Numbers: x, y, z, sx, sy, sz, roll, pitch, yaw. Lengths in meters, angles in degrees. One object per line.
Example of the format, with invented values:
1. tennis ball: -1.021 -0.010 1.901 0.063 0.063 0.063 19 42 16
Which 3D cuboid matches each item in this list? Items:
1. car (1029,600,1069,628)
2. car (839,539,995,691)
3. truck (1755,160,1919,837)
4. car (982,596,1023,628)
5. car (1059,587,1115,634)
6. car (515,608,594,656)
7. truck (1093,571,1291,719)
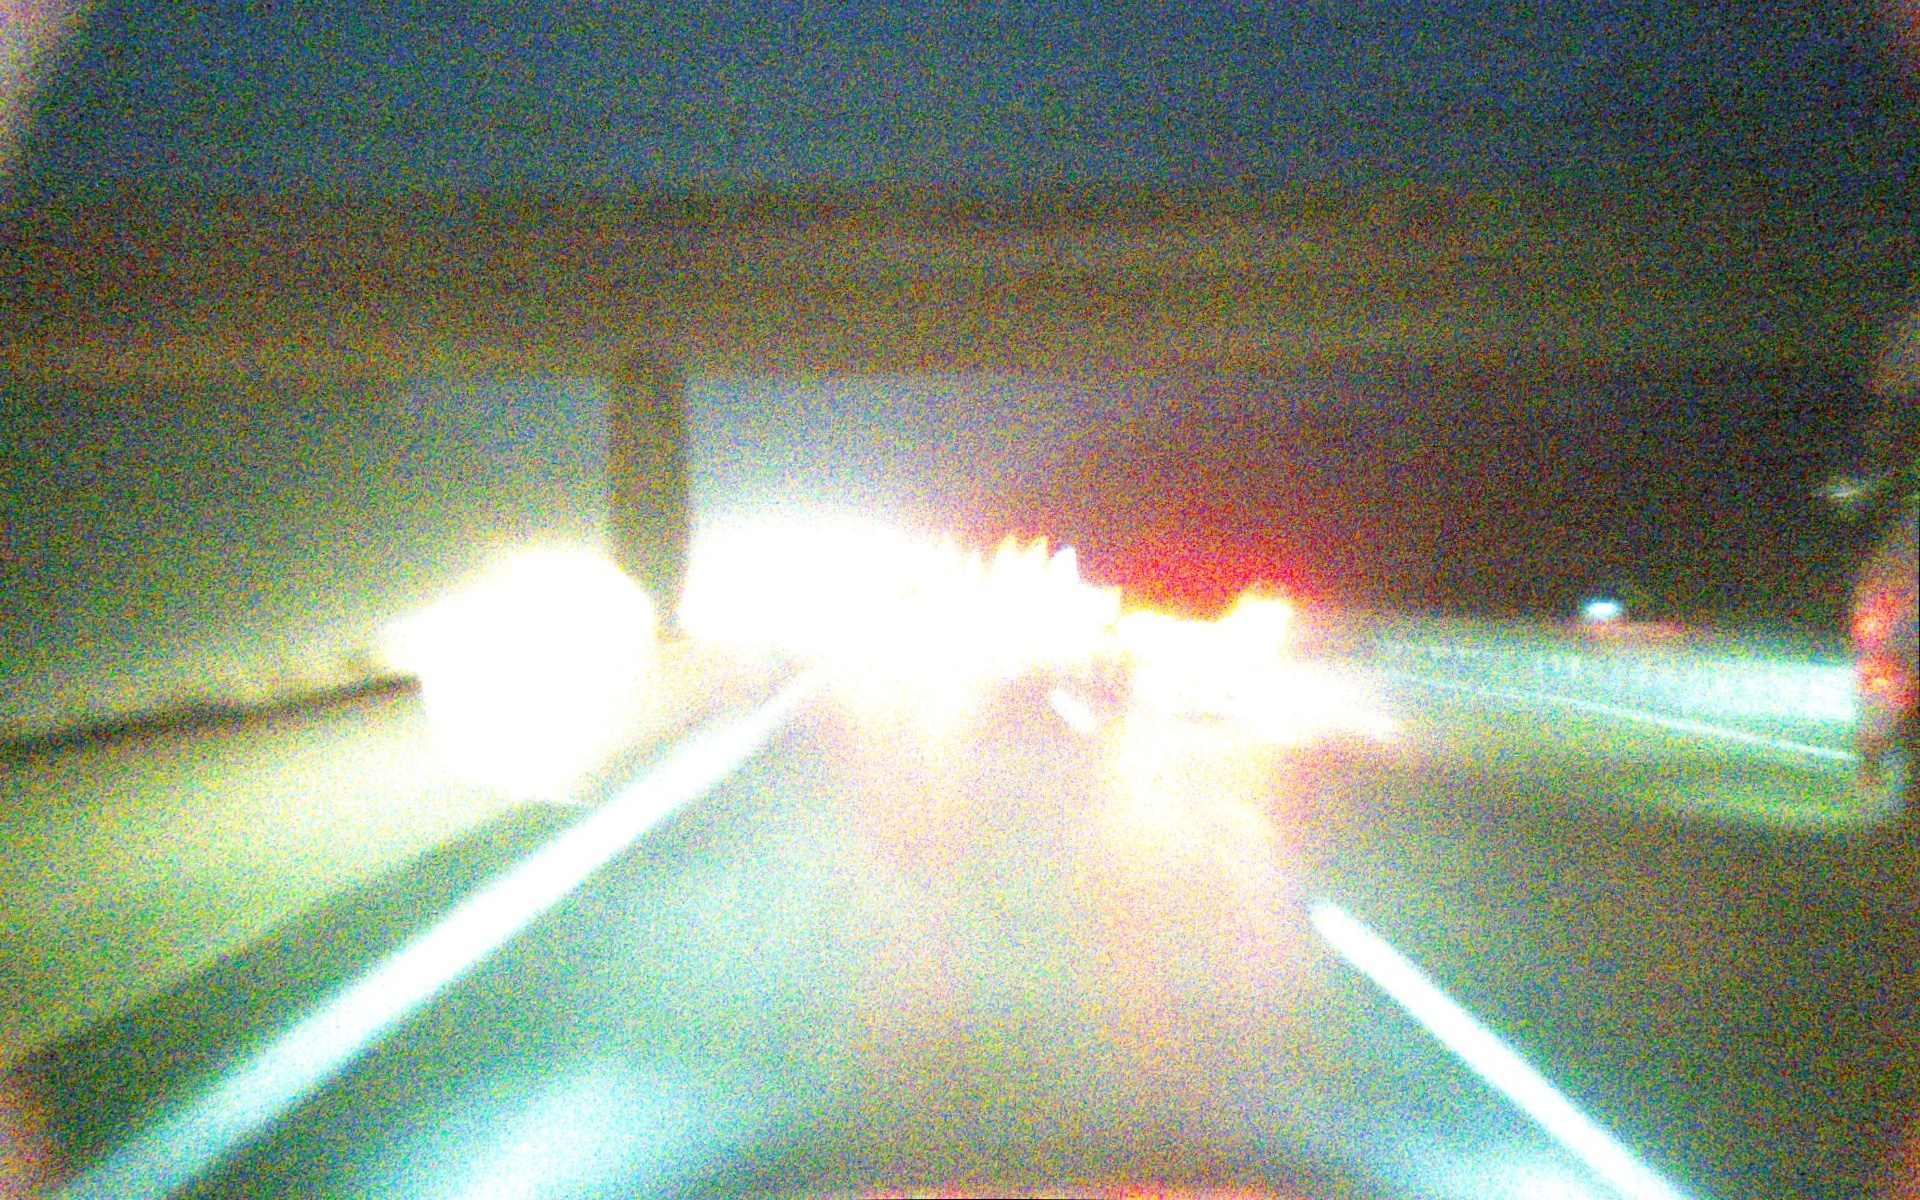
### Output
1. car: 5.338 0.820 99.337 1.856 1.512 4.959 1 1 -3
2. car: -0.919 0.221 31.950 2.656 2.578 5.827 -2 1 -3
3. truck: 7.319 -0.607 8.692 2.801 4.175 7.013 1 0 -1
4. car: 1.909 0.523 75.668 1.580 1.437 3.790 1 0 -3
5. car: 5.793 0.436 76.100 2.005 2.008 5.406 -2 1 -1
6. car: -13.835 1.065 56.591 1.749 1.553 4.379 1 0 -2
7. truck: 2.950 0.536 22.044 1.806 1.726 4.853 1 0 -2
